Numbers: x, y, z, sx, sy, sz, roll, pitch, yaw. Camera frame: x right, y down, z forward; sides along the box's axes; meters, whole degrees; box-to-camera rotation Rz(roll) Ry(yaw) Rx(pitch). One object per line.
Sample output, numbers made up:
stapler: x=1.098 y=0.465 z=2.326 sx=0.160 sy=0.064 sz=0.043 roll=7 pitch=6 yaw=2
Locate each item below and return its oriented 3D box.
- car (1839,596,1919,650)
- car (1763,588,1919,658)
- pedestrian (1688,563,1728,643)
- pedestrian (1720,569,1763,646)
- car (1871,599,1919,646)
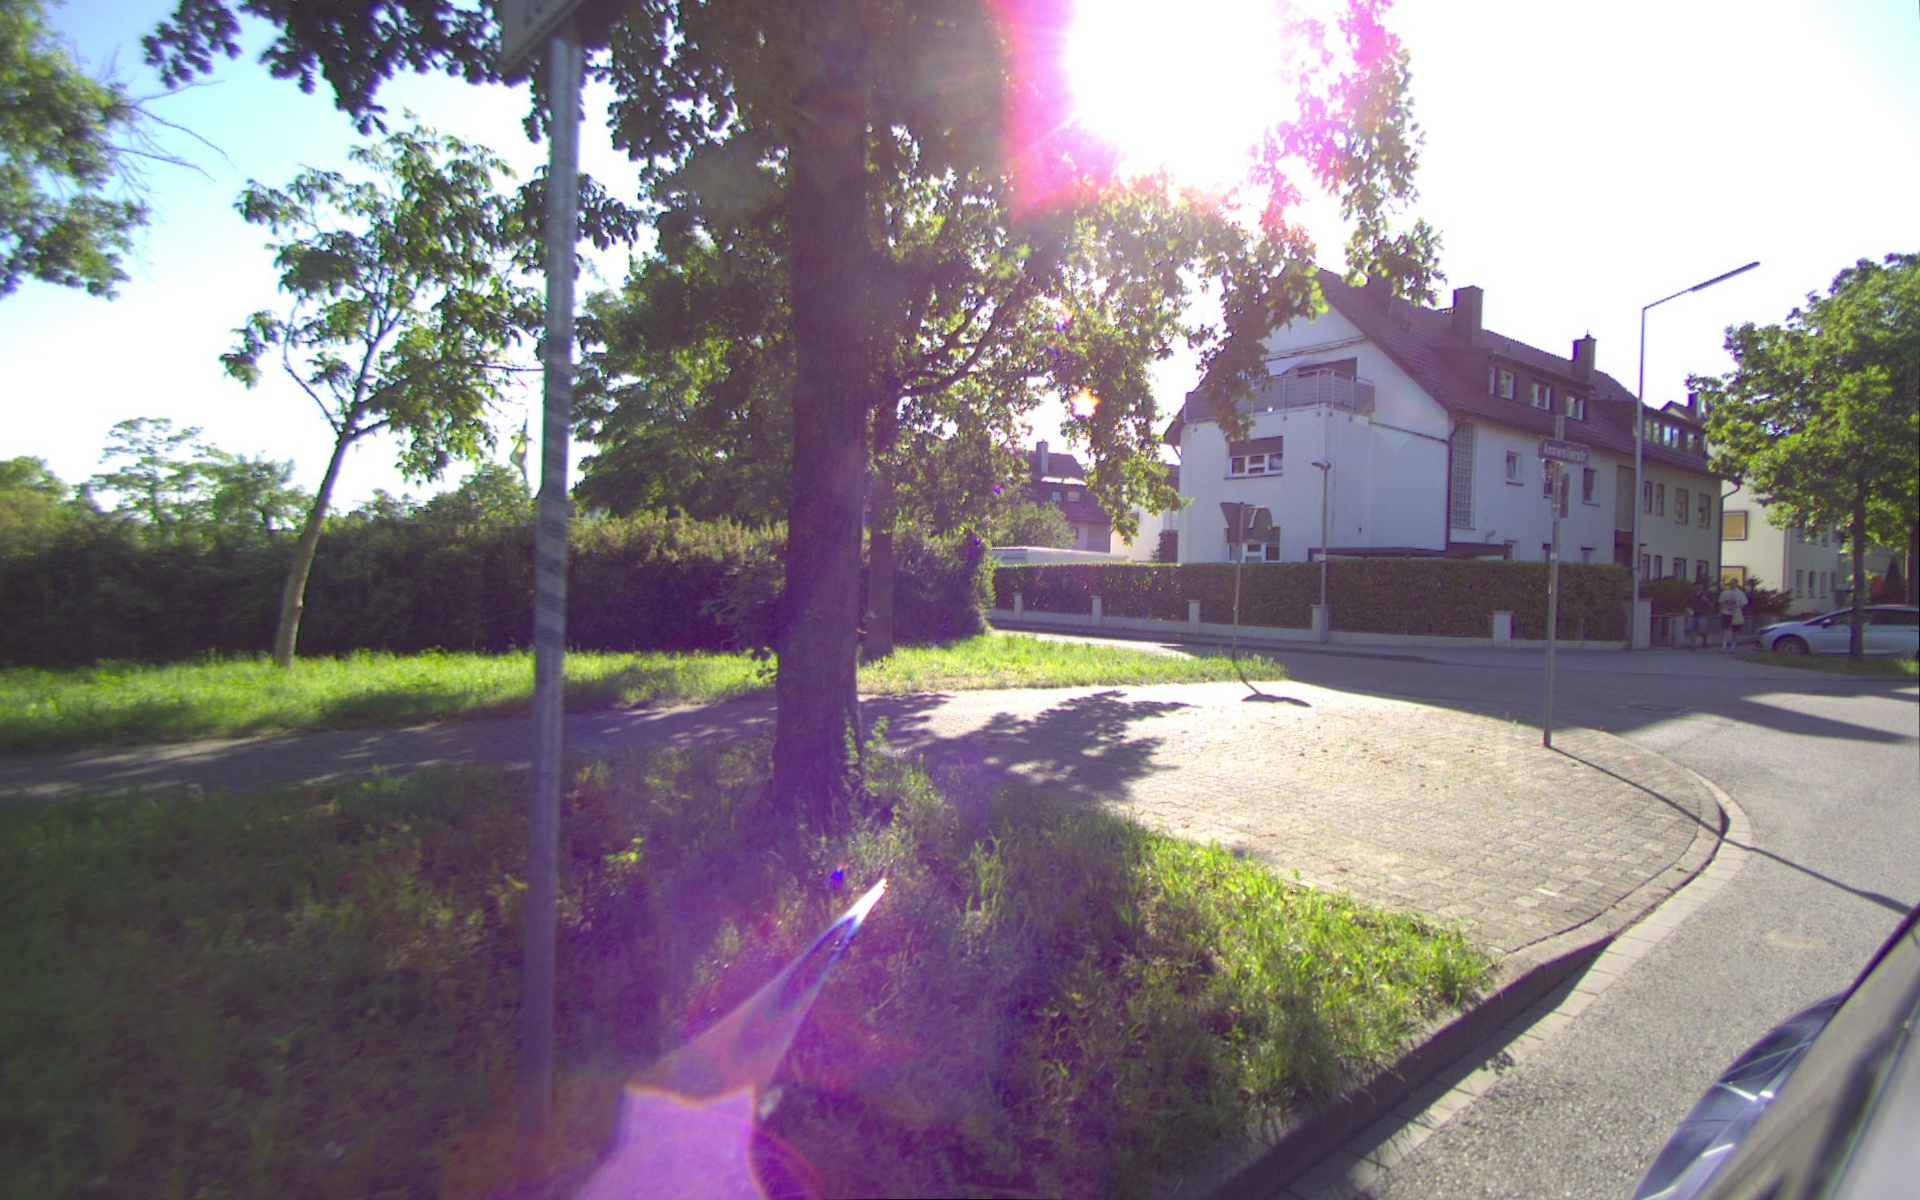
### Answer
car: x=28.842 y=0.721 z=29.588 sx=1.907 sy=1.497 sz=4.510 roll=1 pitch=2 yaw=-40
car: x=22.264 y=0.552 z=24.187 sx=1.907 sy=1.497 sz=4.510 roll=1 pitch=2 yaw=-40
pedestrian: x=19.473 y=0.065 z=26.337 sx=0.819 sy=2.039 sz=0.610 roll=1 pitch=1 yaw=-41
pedestrian: x=19.848 y=0.184 z=25.702 sx=0.854 sy=1.889 sz=0.665 roll=1 pitch=1 yaw=-41
car: x=32.667 y=0.812 z=32.739 sx=1.907 sy=1.497 sz=4.510 roll=1 pitch=2 yaw=-40
